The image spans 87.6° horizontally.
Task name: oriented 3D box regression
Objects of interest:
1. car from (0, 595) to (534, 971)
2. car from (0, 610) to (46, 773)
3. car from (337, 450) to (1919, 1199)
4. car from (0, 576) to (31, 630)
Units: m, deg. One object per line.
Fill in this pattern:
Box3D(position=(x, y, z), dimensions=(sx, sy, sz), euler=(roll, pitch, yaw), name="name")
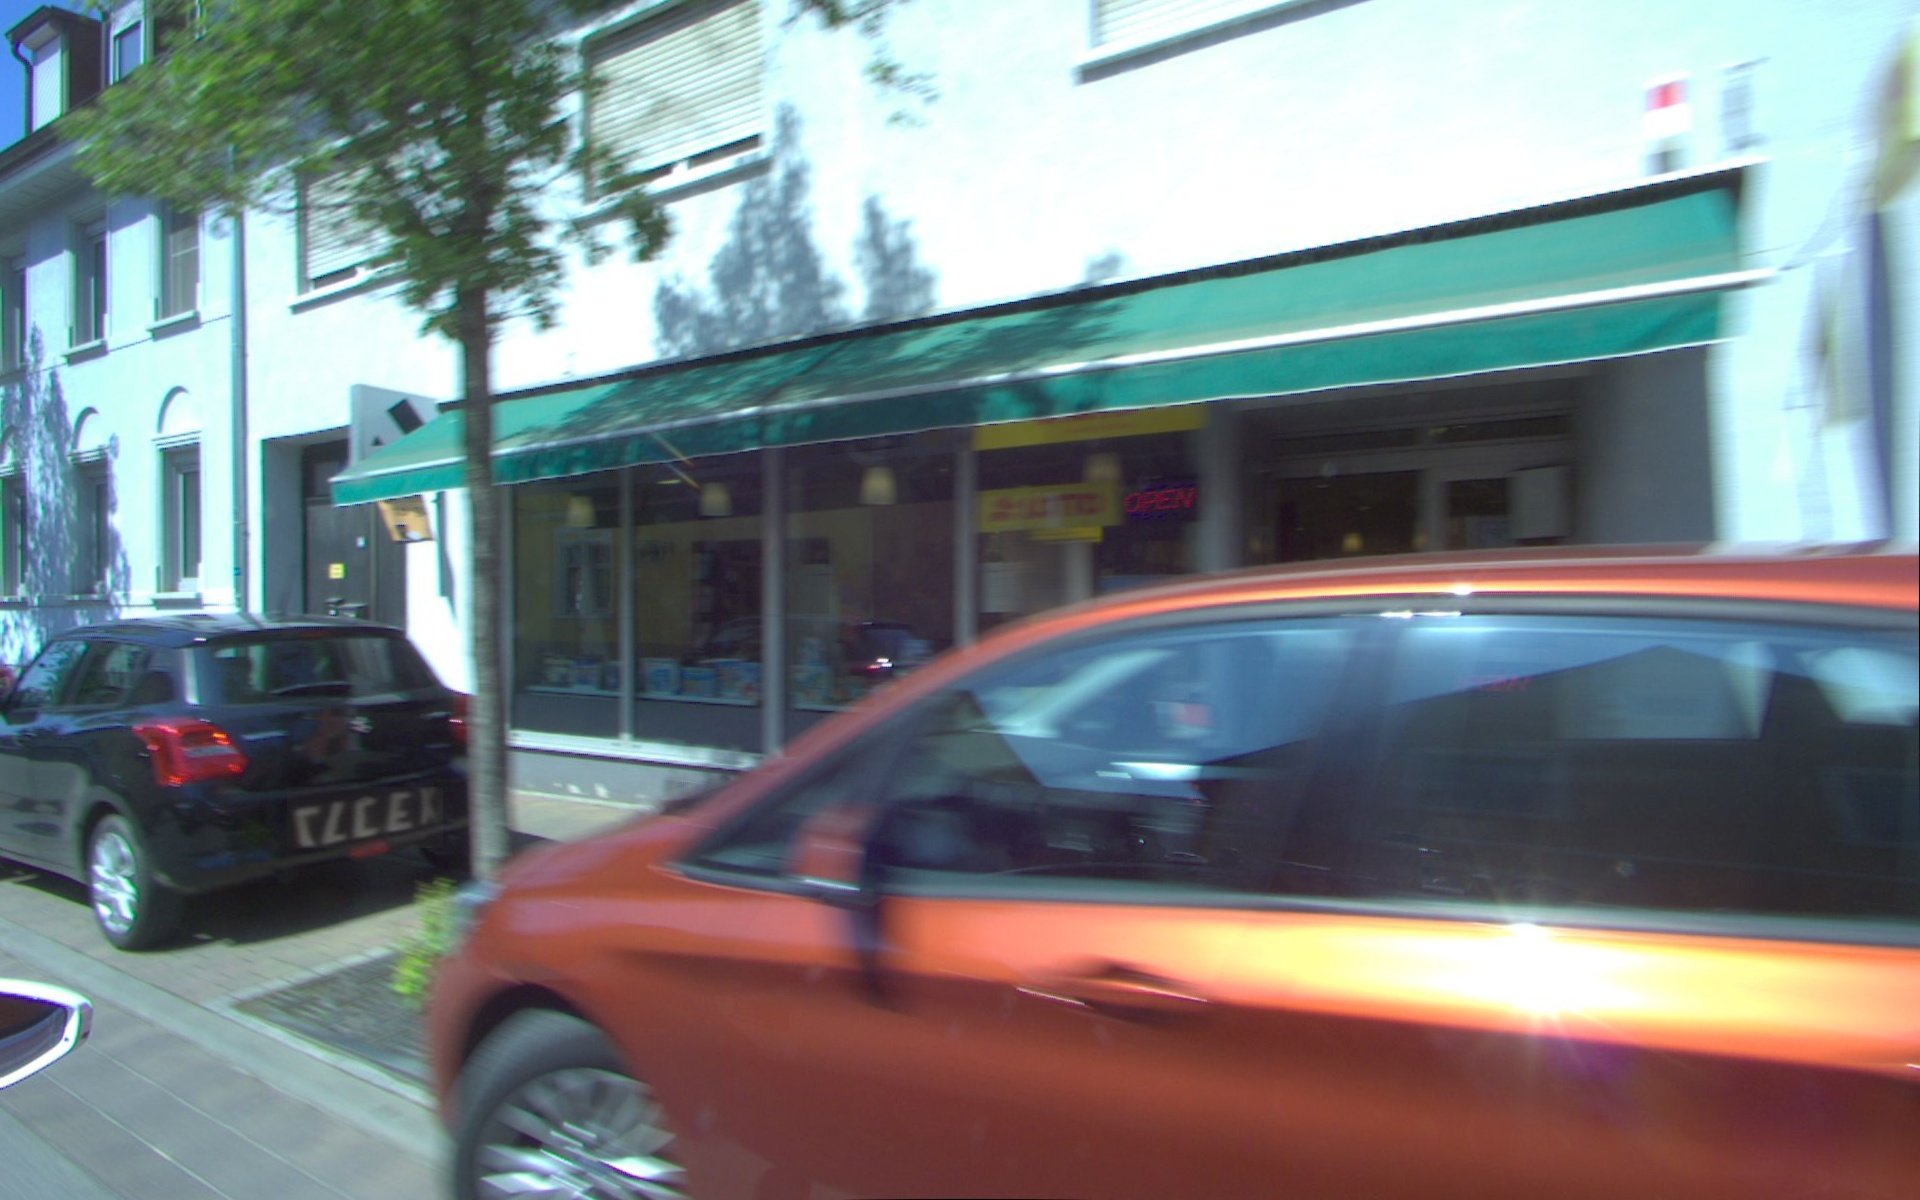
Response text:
Box3D(position=(-4.418, 0.762, 5.854), dimensions=(3.681, 1.534, 1.733), euler=(0, 2, 32), name="car")
Box3D(position=(-10.850, 0.858, 9.919), dimensions=(4.038, 1.501, 1.713), euler=(0, 0, 33), name="car")
Box3D(position=(0.632, 0.632, 2.264), dimensions=(4.028, 1.610, 1.825), euler=(0, 2, 31), name="car")
Box3D(position=(-27.789, 0.209, 26.310), dimensions=(1.810, 1.461, 4.529), euler=(1, 5, 26), name="car")
